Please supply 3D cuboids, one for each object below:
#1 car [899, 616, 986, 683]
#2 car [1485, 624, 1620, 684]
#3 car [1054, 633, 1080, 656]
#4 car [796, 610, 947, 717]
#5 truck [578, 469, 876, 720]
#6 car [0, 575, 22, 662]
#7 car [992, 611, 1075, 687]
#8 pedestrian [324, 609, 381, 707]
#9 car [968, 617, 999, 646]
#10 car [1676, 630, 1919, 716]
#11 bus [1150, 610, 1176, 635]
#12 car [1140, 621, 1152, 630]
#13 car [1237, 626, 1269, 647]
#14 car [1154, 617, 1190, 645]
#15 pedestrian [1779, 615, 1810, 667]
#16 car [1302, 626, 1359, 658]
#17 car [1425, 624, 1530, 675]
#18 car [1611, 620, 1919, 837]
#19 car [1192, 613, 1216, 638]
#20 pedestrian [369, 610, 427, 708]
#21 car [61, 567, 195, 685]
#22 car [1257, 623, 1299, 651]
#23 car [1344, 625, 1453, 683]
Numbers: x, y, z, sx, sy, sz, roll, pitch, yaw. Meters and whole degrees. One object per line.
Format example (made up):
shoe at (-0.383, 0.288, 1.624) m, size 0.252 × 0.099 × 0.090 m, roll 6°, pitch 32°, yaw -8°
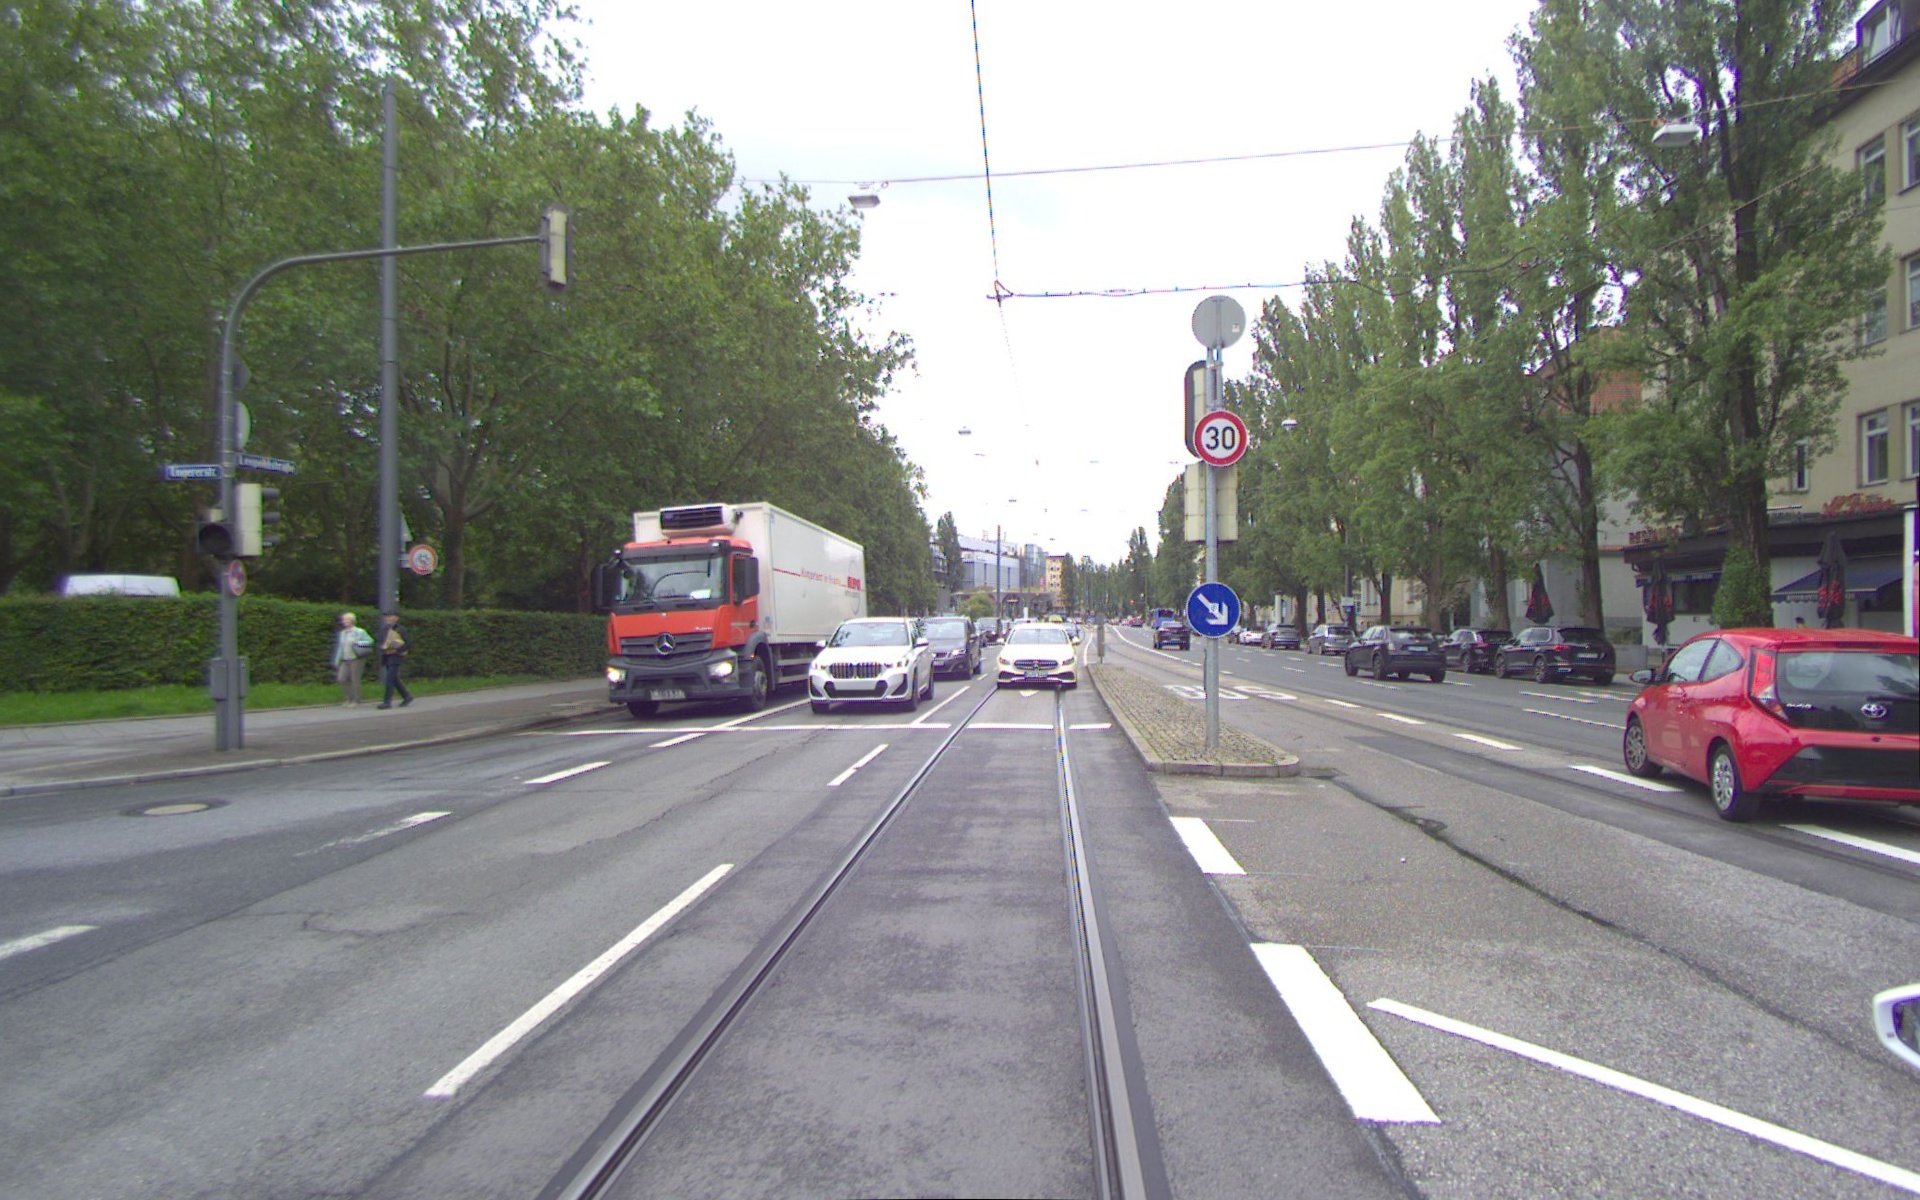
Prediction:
car at (-0.389, 1.326, 28.333) m, size 1.791 × 1.705 × 4.894 m, roll 0°, pitch -1°, yaw 7°
car at (17.234, 1.522, 29.477) m, size 1.692 × 1.633 × 4.473 m, roll 0°, pitch -1°, yaw 6°
car at (7.751, 3.181, 72.441) m, size 1.768 × 1.542 × 4.358 m, roll -1°, pitch -2°, yaw 7°
car at (-1.467, 1.079, 18.671) m, size 1.882 × 1.705 × 4.894 m, roll 0°, pitch -1°, yaw 6°
truck at (-4.332, 0.066, 22.266) m, size 2.693 × 4.033 × 11.723 m, roll -1°, pitch -2°, yaw 6°
car at (-29.742, 0.565, 27.554) m, size 1.959 × 2.569 × 5.867 m, roll 1°, pitch 1°, yaw 9°
car at (1.827, 1.121, 24.433) m, size 1.791 × 1.660 × 4.894 m, roll 0°, pitch -1°, yaw 5°
pedestrian at (-10.641, 1.007, 17.615) m, size 0.673 × 1.685 × 0.554 m, roll 0°, pitch -1°, yaw -6°
car at (1.771, 2.305, 73.191) m, size 1.768 × 2.017 × 5.043 m, roll -1°, pitch -1°, yaw 7°
car at (16.580, 1.374, 20.114) m, size 1.769 × 1.485 × 4.002 m, roll 1°, pitch -1°, yaw 3°
bus at (30.052, 3.260, 149.158) m, size 2.856 × 3.442 × 10.810 m, roll 1°, pitch 1°, yaw 7°
car at (31.072, 4.276, 167.893) m, size 1.750 × 1.505 × 4.003 m, roll 0°, pitch -1°, yaw 7°
car at (22.501, 2.771, 77.231) m, size 1.768 × 1.528 × 4.003 m, roll 0°, pitch -1°, yaw 7°
car at (12.492, 1.806, 59.445) m, size 1.706 × 1.569 × 4.579 m, roll 0°, pitch -1°, yaw 7°
pedestrian at (26.358, 1.289, 31.729) m, size 0.563 × 1.583 × 0.496 m, roll 1°, pitch 1°, yaw 7°
car at (19.848, 2.244, 54.006) m, size 1.769 × 1.633 × 4.550 m, roll 0°, pitch -1°, yaw 6°
car at (17.861, 1.661, 34.895) m, size 1.769 × 1.633 × 4.308 m, roll 0°, pitch -1°, yaw 6°
car at (6.908, 0.927, 8.509) m, size 1.602 × 1.459 × 3.377 m, roll 1°, pitch -1°, yaw 20°
car at (27.138, 2.778, 111.823) m, size 1.959 × 2.609 × 4.681 m, roll 1°, pitch 1°, yaw 7°
pedestrian at (-9.914, 1.030, 17.743) m, size 0.673 × 1.685 × 0.661 m, roll 0°, pitch -1°, yaw -6°
car at (-17.674, 0.633, 21.255) m, size 1.985 × 2.039 × 4.574 m, roll 0°, pitch -6°, yaw -42°
car at (21.235, 2.431, 67.185) m, size 1.769 × 1.766 × 4.703 m, roll 0°, pitch -1°, yaw 6°
car at (12.294, 1.459, 28.435) m, size 1.750 × 1.505 × 4.003 m, roll 0°, pitch -1°, yaw 7°
